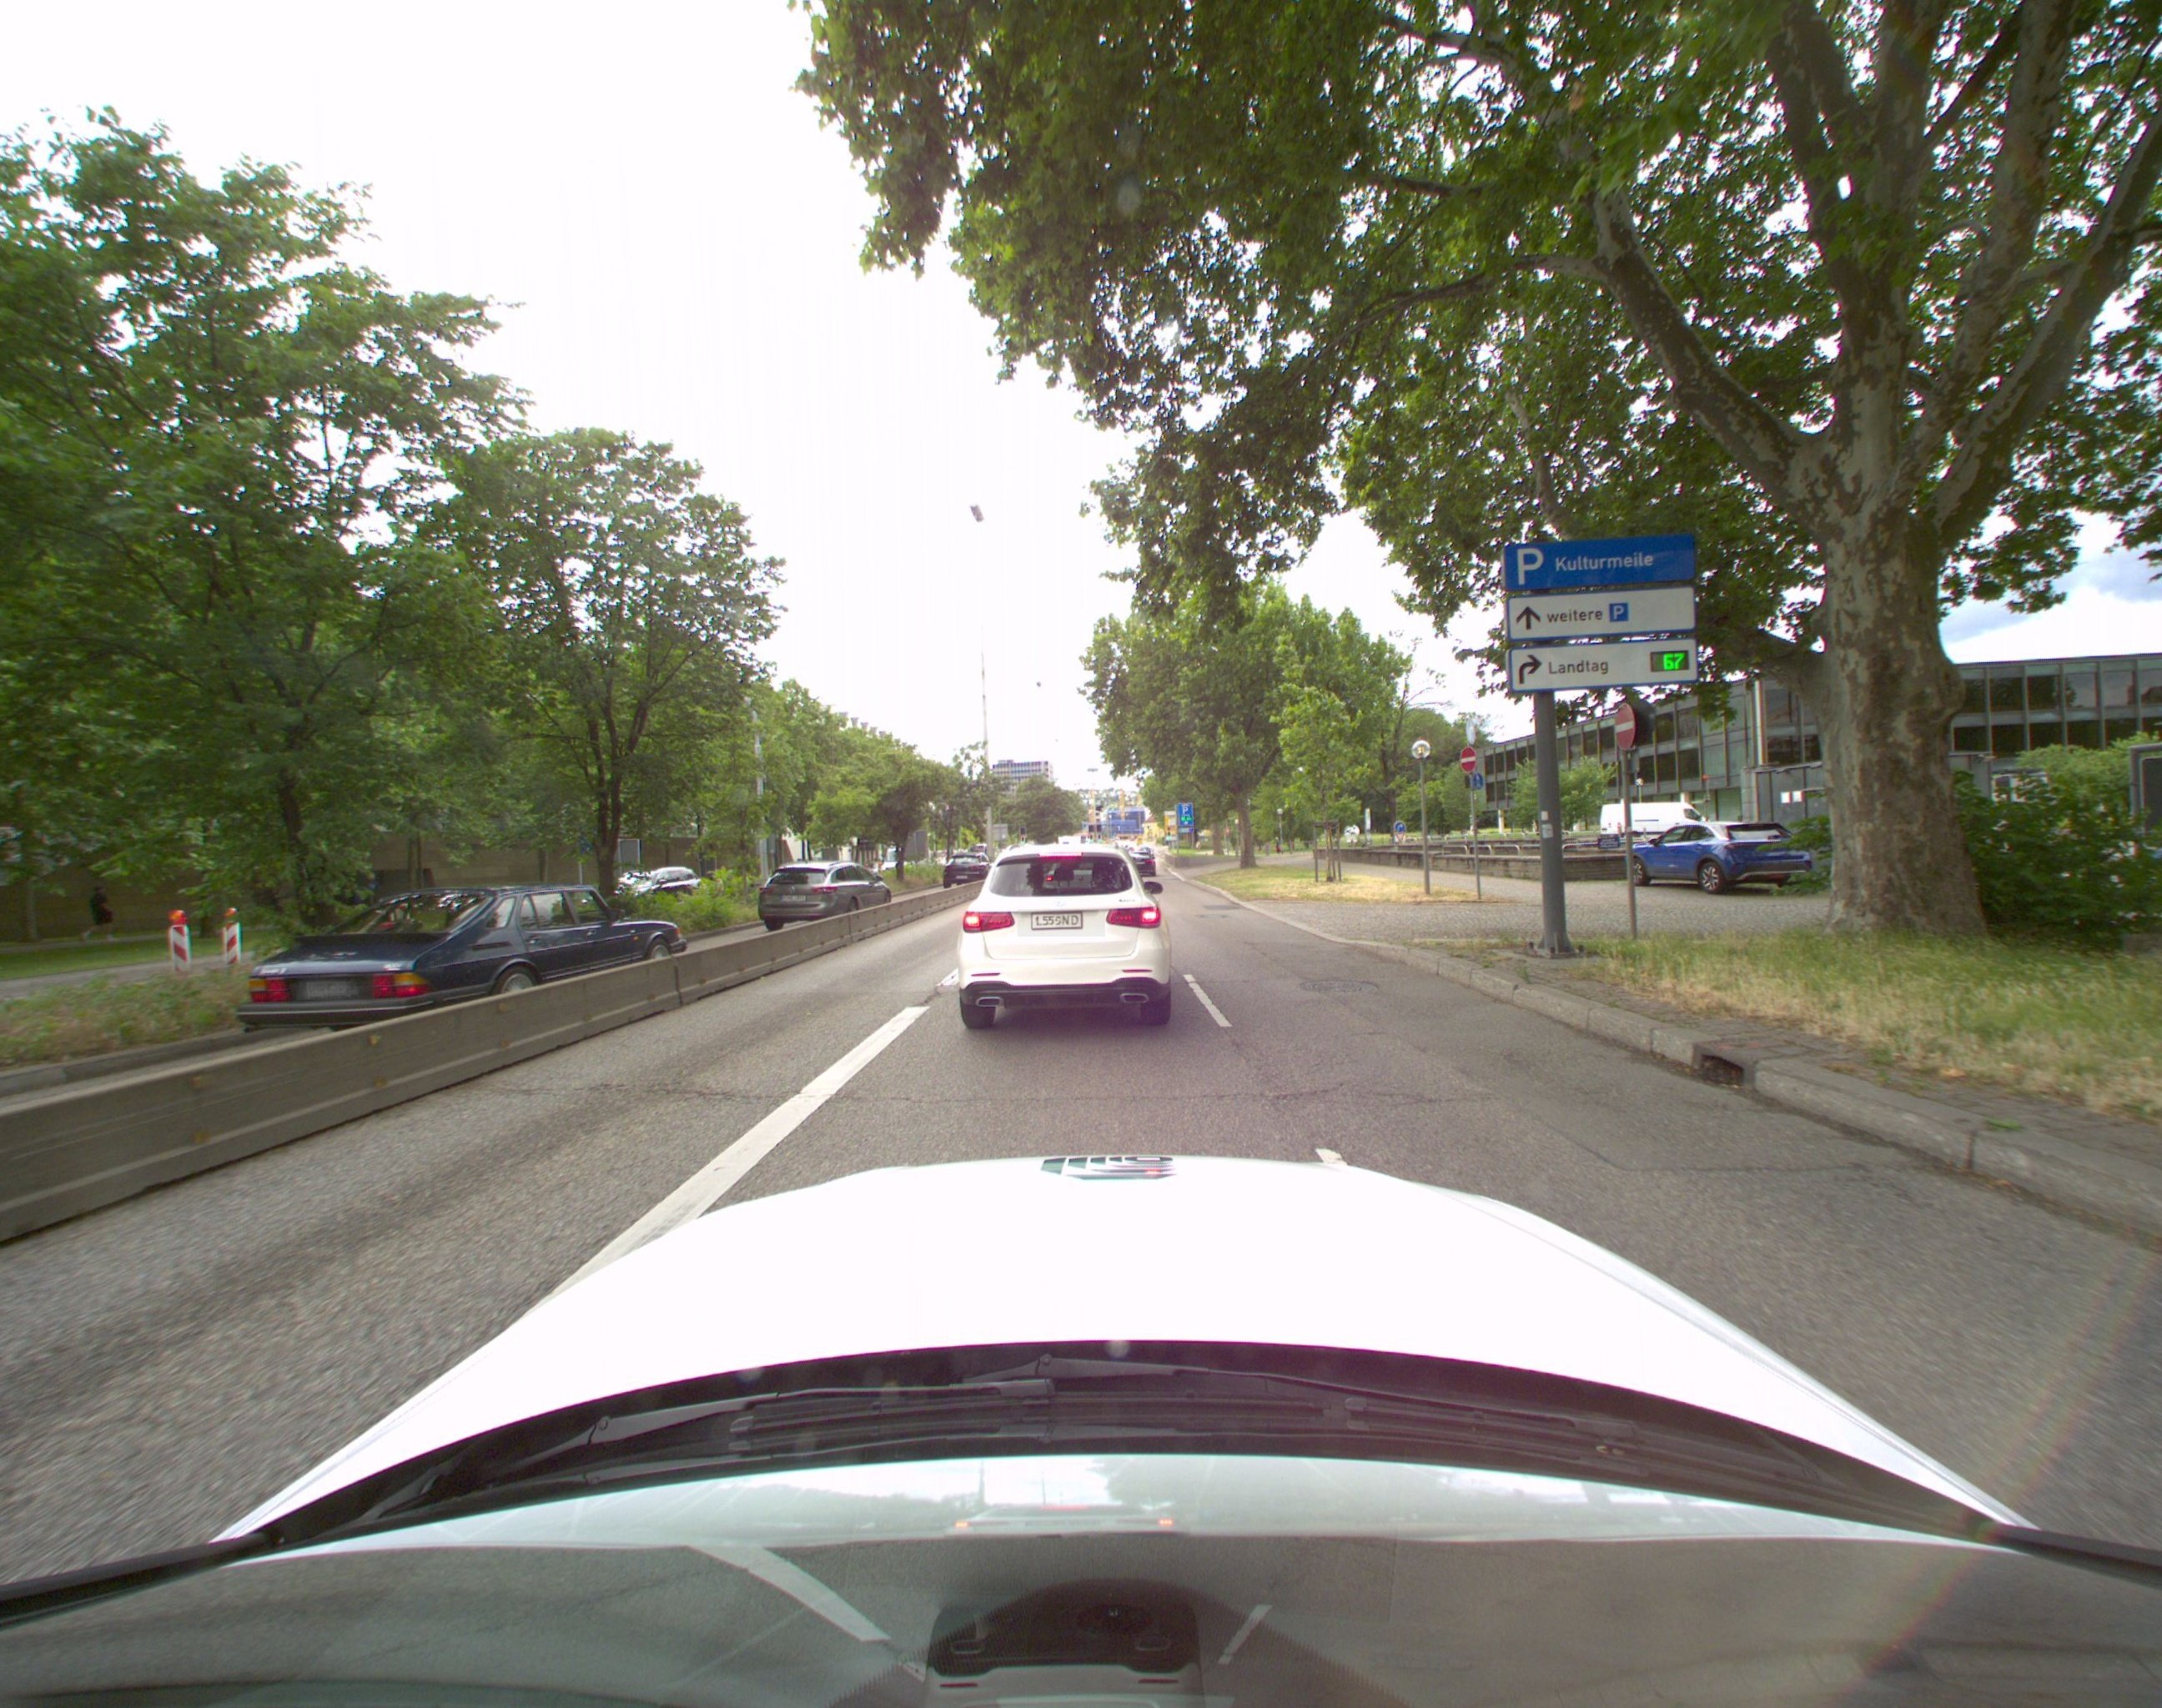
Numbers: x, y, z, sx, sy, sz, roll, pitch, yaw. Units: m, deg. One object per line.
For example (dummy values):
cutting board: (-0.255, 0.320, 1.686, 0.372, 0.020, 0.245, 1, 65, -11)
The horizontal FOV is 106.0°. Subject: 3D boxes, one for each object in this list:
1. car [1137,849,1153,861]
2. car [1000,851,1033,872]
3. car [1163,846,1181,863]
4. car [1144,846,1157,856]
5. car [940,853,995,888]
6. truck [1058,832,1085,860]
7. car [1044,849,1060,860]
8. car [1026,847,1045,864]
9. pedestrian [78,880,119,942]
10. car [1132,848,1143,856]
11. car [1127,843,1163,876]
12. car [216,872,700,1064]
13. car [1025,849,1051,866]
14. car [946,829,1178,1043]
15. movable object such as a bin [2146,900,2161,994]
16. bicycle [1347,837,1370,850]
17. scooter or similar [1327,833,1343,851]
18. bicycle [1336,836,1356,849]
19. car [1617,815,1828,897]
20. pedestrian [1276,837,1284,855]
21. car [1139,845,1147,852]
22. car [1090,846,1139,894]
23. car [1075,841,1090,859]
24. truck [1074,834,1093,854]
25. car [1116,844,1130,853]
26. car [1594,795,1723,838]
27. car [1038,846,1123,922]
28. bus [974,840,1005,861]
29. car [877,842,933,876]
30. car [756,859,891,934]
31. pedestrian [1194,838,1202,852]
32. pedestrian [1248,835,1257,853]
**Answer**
car: (8.000, 0.074, 102.228, 1.939, 1.428, 4.020, -2, 0, 3)
car: (-4.351, 0.463, 55.160, 1.651, 1.319, 3.552, -2, 0, 5)
car: (11.006, 0.025, 98.640, 1.985, 2.013, 4.003, -2, 0, 3)
car: (10.700, -0.462, 125.750, 1.939, 1.319, 4.020, -2, 0, 3)
car: (-5.173, 0.703, 37.598, 1.769, 1.420, 4.002, -2, 1, 2)
truck: (-0.972, -0.841, 88.173, 2.611, 2.861, 7.080, -1, 0, 1)
car: (-3.769, 0.065, 106.588, 1.652, 1.319, 3.550, -2, 0, 3)
car: (-4.472, 0.116, 80.104, 1.654, 1.513, 3.546, -2, 0, -1)
pedestrian: (-32.851, 1.900, 27.234, 0.449, 2.013, 0.665, -2, 0, 2)
car: (10.196, -0.341, 148.177, 1.939, 1.319, 4.020, -2, 0, 3)
car: (3.629, 0.292, 46.829, 1.818, 1.752, 4.002, -3, 0, 1)
car: (-6.178, 0.990, 8.957, 1.672, 1.367, 4.545, -3, 0, 2)
car: (-3.683, 0.290, 69.976, 1.651, 1.319, 3.552, -2, 0, 5)
car: (-0.150, 0.637, 8.723, 1.782, 1.625, 4.436, -2, 0, 0)
movable object such as a bin: (8.107, 0.641, 5.291, 1.291, 0.652, 0.731, -1, -1, 10)
bicycle: (22.723, -0.829, 66.744, 0.950, 0.975, 2.788, 0, 0, 2)
scooter or similar: (18.783, -0.884, 60.194, 0.633, 1.245, 2.228, -1, 0, 4)
bicycle: (21.628, -0.933, 66.471, 0.950, 1.063, 2.336, 0, 0, 1)
car: (14.096, -0.045, 18.226, 1.752, 1.551, 4.032, -2, 2, 4)
pedestrian: (18.312, -0.757, 74.994, 0.634, 1.610, 0.665, -2, 0, 9)
car: (14.443, -1.246, 189.173, 1.751, 1.669, 4.170, -2, 1, 2)
car: (1.211, 0.544, 30.391, 1.653, 1.639, 3.548, -2, 0, 1)
car: (0.236, -0.583, 115.134, 1.986, 2.475, 4.001, -2, 0, 1)
truck: (0.426, -1.441, 121.710, 2.682, 2.992, 5.639, 0, 0, 1)
car: (5.929, -0.781, 115.640, 1.939, 1.319, 4.020, -2, 0, 3)
car: (35.401, -2.285, 50.032, 6.081, 2.260, 2.404, -2, 0, 3)
car: (-0.094, 0.647, 19.534, 1.791, 1.608, 3.751, -2, 0, -3)
bus: (-15.620, -0.632, 140.250, 3.656, 3.205, 14.268, -3, 0, -1)
car: (-11.138, 0.303, 52.072, 2.107, 1.969, 5.581, -3, 0, 2)
car: (-5.630, 0.869, 18.333, 1.655, 1.436, 3.962, -2, 0, 1)
pedestrian: (16.287, -1.244, 113.014, 0.752, 2.013, 0.703, -2, 0, 38)
pedestrian: (17.207, -1.010, 81.743, 0.754, 1.724, 0.701, -2, 0, 10)
